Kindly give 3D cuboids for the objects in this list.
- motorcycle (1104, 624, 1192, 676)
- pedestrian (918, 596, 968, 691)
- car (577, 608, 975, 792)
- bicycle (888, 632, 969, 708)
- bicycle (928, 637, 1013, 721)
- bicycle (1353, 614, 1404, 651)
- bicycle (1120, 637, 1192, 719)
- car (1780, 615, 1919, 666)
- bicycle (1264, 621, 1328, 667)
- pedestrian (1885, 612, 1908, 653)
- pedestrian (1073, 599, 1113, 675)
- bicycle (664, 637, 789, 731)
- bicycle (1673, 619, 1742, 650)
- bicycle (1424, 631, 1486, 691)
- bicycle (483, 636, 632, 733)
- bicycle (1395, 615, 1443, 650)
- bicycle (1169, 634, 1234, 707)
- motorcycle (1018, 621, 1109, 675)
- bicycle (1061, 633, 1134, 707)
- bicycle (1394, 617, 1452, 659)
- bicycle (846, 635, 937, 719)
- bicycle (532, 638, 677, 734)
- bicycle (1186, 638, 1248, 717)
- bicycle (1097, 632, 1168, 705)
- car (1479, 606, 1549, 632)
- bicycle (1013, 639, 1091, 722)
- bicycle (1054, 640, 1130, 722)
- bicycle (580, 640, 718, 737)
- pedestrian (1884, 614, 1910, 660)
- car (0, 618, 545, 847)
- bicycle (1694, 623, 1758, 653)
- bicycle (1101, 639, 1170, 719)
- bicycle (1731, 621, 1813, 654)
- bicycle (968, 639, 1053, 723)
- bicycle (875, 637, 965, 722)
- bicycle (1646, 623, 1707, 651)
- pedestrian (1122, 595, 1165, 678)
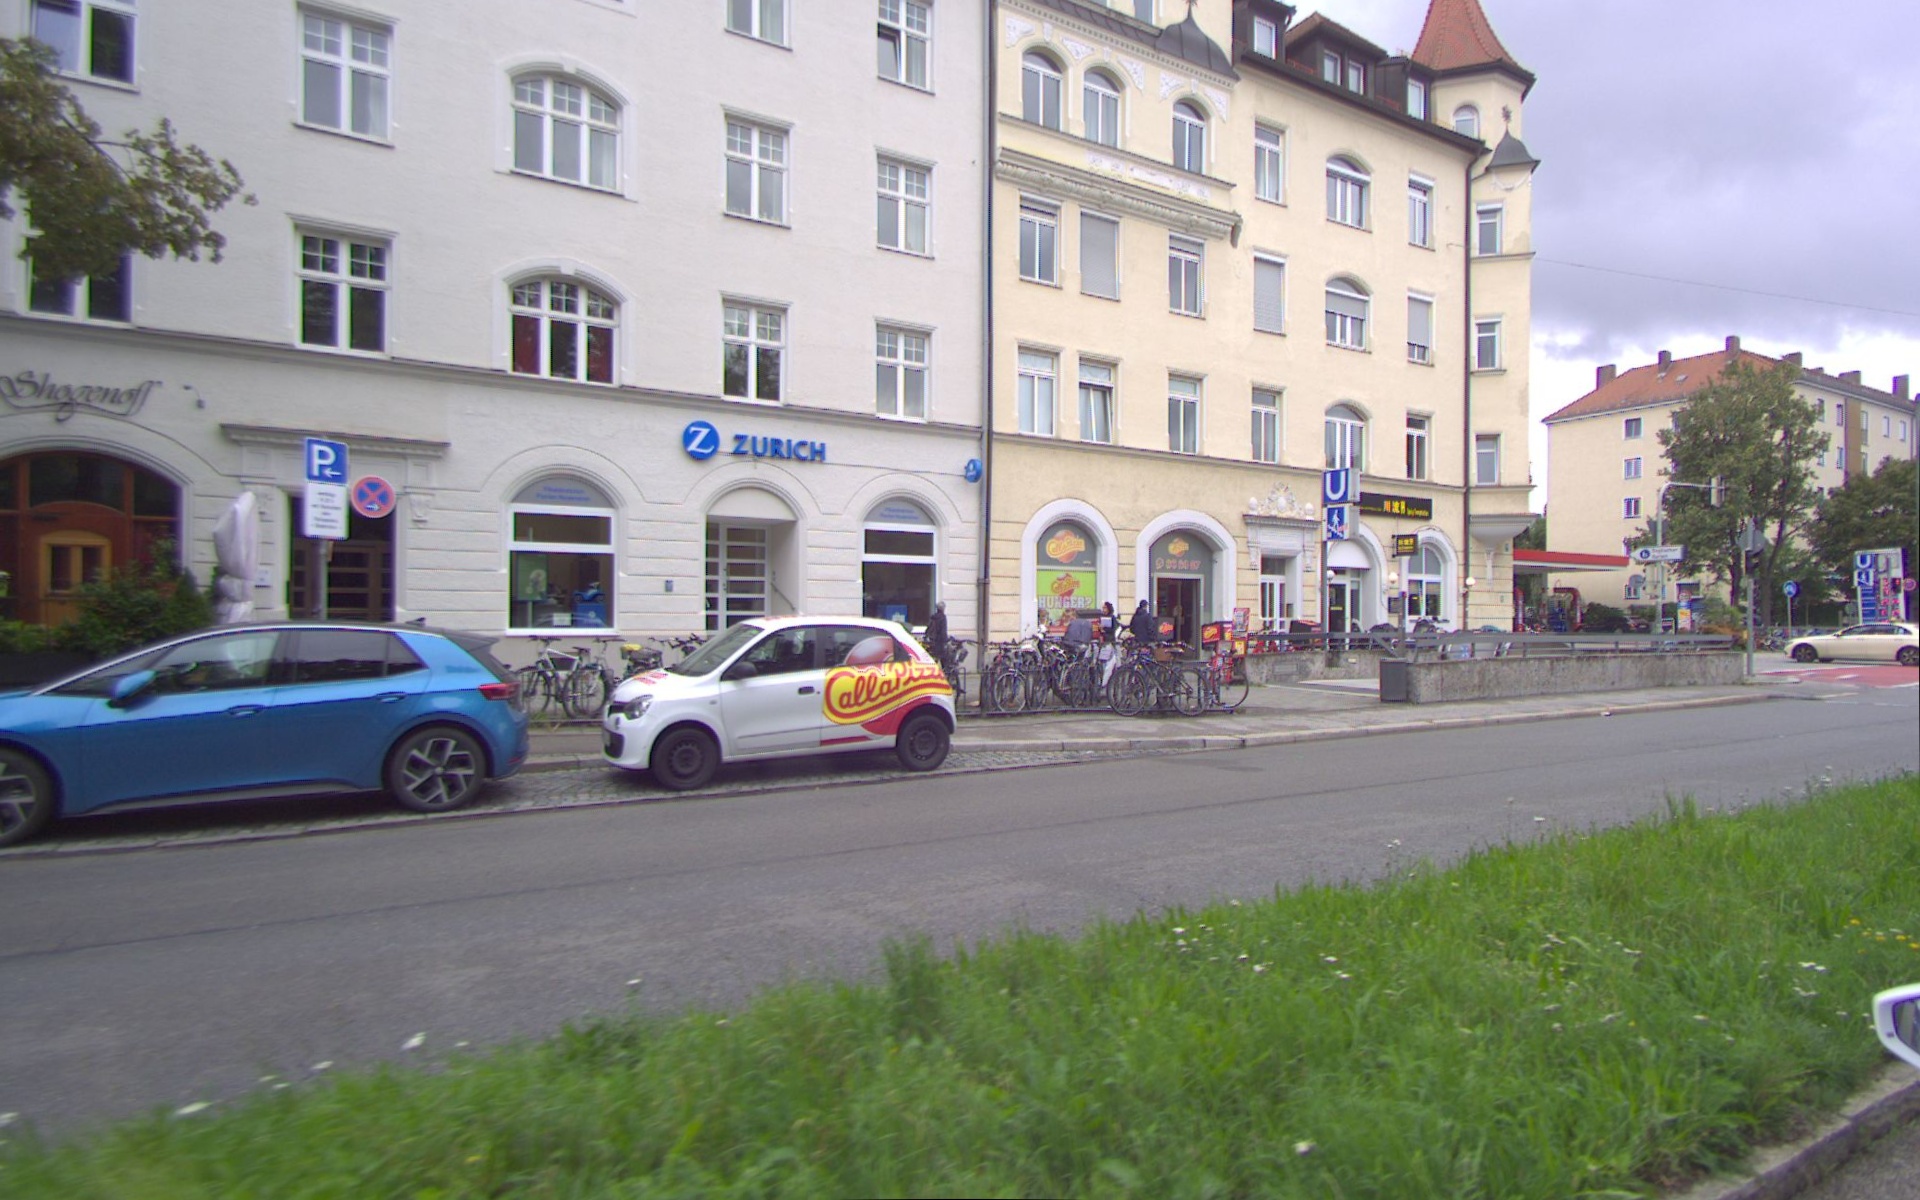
[{"bbox_3d":[4.347,1.149,23.259,1.947,1.137,0.610,1,0,11],"label":"motorcycle"},{"bbox_3d":[-0.317,0.792,18.501,0.762,1.719,0.540,1,0,-32],"label":"pedestrian"},{"bbox_3d":[-1.873,0.902,10.393,3.742,1.606,1.643,1,-1,-28],"label":"car"},{"bbox_3d":[-0.481,1.097,16.093,0.325,1.130,1.675,0,-1,37],"label":"bicycle"},{"bbox_3d":[0.179,1.130,14.726,0.325,1.130,1.675,0,-1,37],"label":"bicycle"},{"bbox_3d":[11.496,0.885,27.568,1.526,0.993,0.470,1,-1,-30],"label":"bicycle"},{"bbox_3d":[2.961,1.143,15.062,0.362,1.130,1.675,0,-1,37],"label":"bicycle"},{"bbox_3d":[31.740,1.371,34.904,1.763,1.669,4.744,1,-1,-29],"label":"car"},{"bbox_3d":[7.533,0.976,22.495,1.526,0.993,0.470,1,-1,-30],"label":"bicycle"},{"bbox_3d":[39.833,1.377,42.716,0.581,1.718,0.576,0,0,30],"label":"pedestrian"},{"bbox_3d":[2.912,0.805,21.993,0.772,1.653,0.420,0,0,-24],"label":"pedestrian"},{"bbox_3d":[-3.113,1.093,13.598,0.539,1.130,1.878,0,-1,29],"label":"bicycle"},{"bbox_3d":[33.925,1.561,45.620,0.785,1.267,2.374,1,1,-39],"label":"bicycle"},{"bbox_3d":[9.948,1.207,20.145,1.798,1.130,0.392,1,-1,-39],"label":"bicycle"},{"bbox_3d":[-5.211,1.058,13.147,0.451,1.130,1.963,0,-1,29],"label":"bicycle"},{"bbox_3d":[13.265,0.927,29.013,1.526,0.993,0.470,1,-1,-30],"label":"bicycle"},{"bbox_3d":[4.103,1.160,16.966,0.390,1.130,1.807,0,-1,37],"label":"bicycle"},{"bbox_3d":[2.298,1.056,22.323,1.947,1.145,0.610,1,0,11],"label":"motorcycle"},{"bbox_3d":[2.324,1.141,16.813,0.390,1.130,1.807,0,-1,37],"label":"bicycle"},{"bbox_3d":[11.150,0.901,24.182,1.526,0.993,0.470,1,-1,-30],"label":"bicycle"},{"bbox_3d":[-0.972,1.093,14.642,0.325,1.130,1.675,0,-1,37],"label":"bicycle"},{"bbox_3d":[-4.650,1.090,13.280,0.495,1.130,1.986,0,-1,29],"label":"bicycle"},{"bbox_3d":[4.025,1.180,15.685,0.325,1.130,1.675,0,-1,37],"label":"bicycle"},{"bbox_3d":[2.919,1.125,16.871,0.390,1.130,1.807,0,-1,37],"label":"bicycle"},{"bbox_3d":[38.924,1.310,70.685,1.835,1.808,3.969,1,-1,-29],"label":"car"},{"bbox_3d":[1.393,1.165,14.979,0.325,1.130,1.675,0,-1,37],"label":"bicycle"},{"bbox_3d":[2.010,1.183,15.098,0.361,1.130,1.675,0,-1,37],"label":"bicycle"},{"bbox_3d":[-4.018,1.111,13.122,0.539,1.130,1.878,0,-1,29],"label":"bicycle"},{"bbox_3d":[35.747,1.402,38.325,0.568,1.718,0.533,0,0,-21],"label":"pedestrian"},{"bbox_3d":[-5.779,0.922,8.214,4.240,1.527,1.802,1,-1,-30],"label":"car"},{"bbox_3d":[33.858,1.657,44.422,0.760,1.252,2.161,1,-1,-40],"label":"bicycle"},{"bbox_3d":[2.708,1.180,15.372,0.325,1.130,1.675,0,-1,37],"label":"bicycle"},{"bbox_3d":[35.391,1.625,43.838,2.664,1.267,0.792,2,1,31],"label":"bicycle"},{"bbox_3d":[0.764,1.151,14.741,0.376,1.130,1.675,0,-1,37],"label":"bicycle"},{"bbox_3d":[-0.554,1.114,14.531,0.325,1.130,1.675,0,-1,37],"label":"bicycle"},{"bbox_3d":[32.860,1.685,46.075,0.759,1.252,2.163,1,-1,-38],"label":"bicycle"},{"bbox_3d":[3.885,0.754,21.208,0.583,1.719,0.943,0,0,33],"label":"pedestrian"}]
